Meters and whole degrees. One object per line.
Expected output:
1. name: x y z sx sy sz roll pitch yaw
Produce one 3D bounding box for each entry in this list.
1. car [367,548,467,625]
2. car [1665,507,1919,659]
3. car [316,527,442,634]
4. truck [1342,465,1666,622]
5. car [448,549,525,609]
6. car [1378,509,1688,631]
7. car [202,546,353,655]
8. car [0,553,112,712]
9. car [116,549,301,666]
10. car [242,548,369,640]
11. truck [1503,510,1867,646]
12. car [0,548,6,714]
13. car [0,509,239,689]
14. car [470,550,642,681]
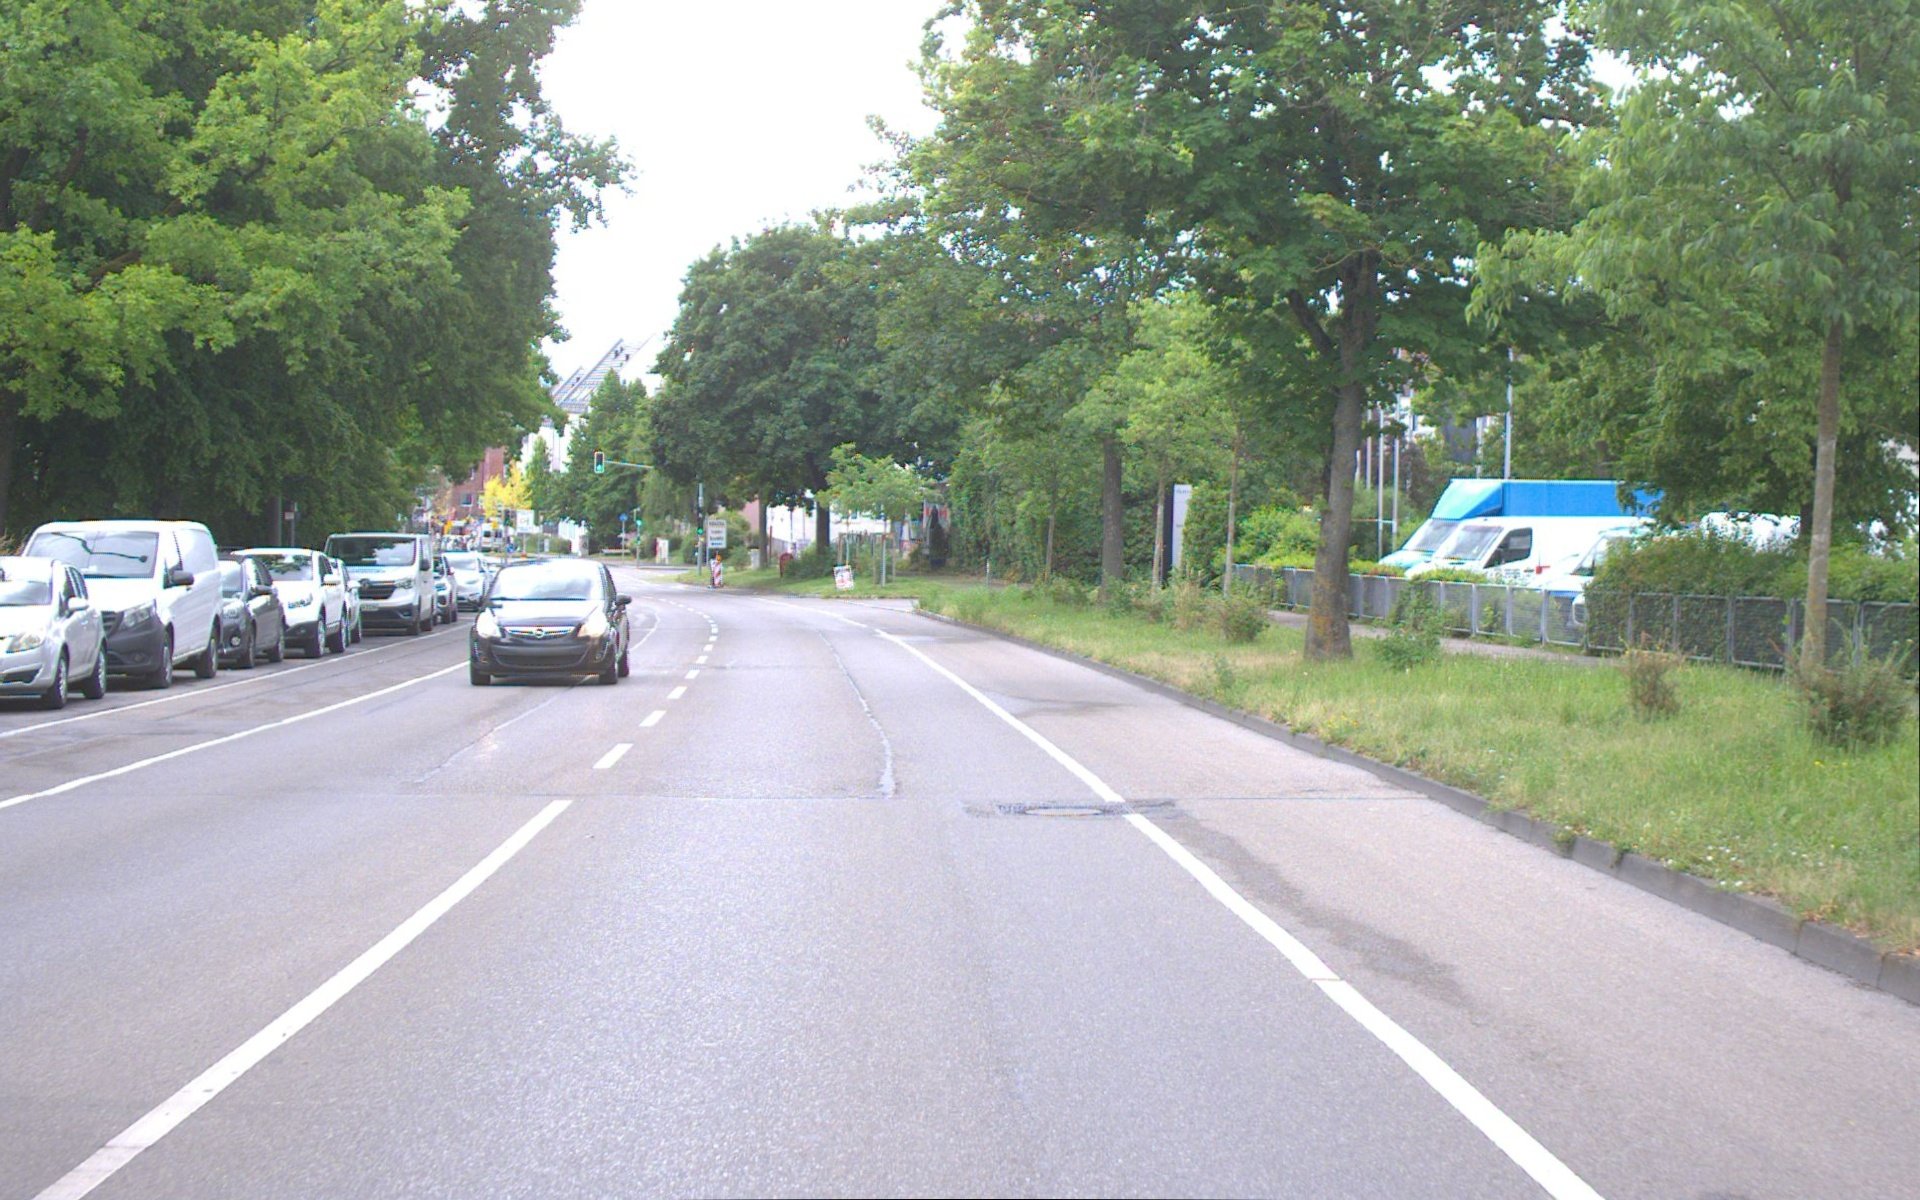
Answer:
1. car: -11.829 -0.306 75.086 1.766 1.628 4.158 0 1 -4
2. car: 13.441 -0.238 52.011 5.243 2.180 2.072 1 1 -27
3. car: -11.069 -0.398 65.769 1.866 1.957 5.128 0 1 -4
4. truck: 12.512 -1.294 78.954 7.162 3.465 2.619 0 1 -27
5. car: -12.685 -0.562 92.298 1.767 1.567 4.760 0 0 -5
6. car: 11.835 -0.604 70.936 6.009 2.359 2.363 1 1 -26
7. car: -10.123 -0.021 51.211 1.673 1.559 4.282 0 1 -4
8. car: -9.536 0.278 34.105 1.634 1.428 3.951 1 1 -6
9. car: -10.093 0.076 46.420 1.673 1.483 4.045 -1 1 -1
10. car: -10.875 -0.109 57.323 1.662 1.474 4.091 0 0 -5
11. truck: 12.596 -0.364 59.590 6.233 2.205 2.247 1 1 -30
12. car: -9.458 0.328 28.744 1.768 1.490 4.357 -1 1 -1
13. car: -9.761 -0.063 40.064 1.768 1.924 5.156 1 1 -2
14. car: -4.740 0.156 40.754 1.637 1.462 4.000 -1 1 -1
